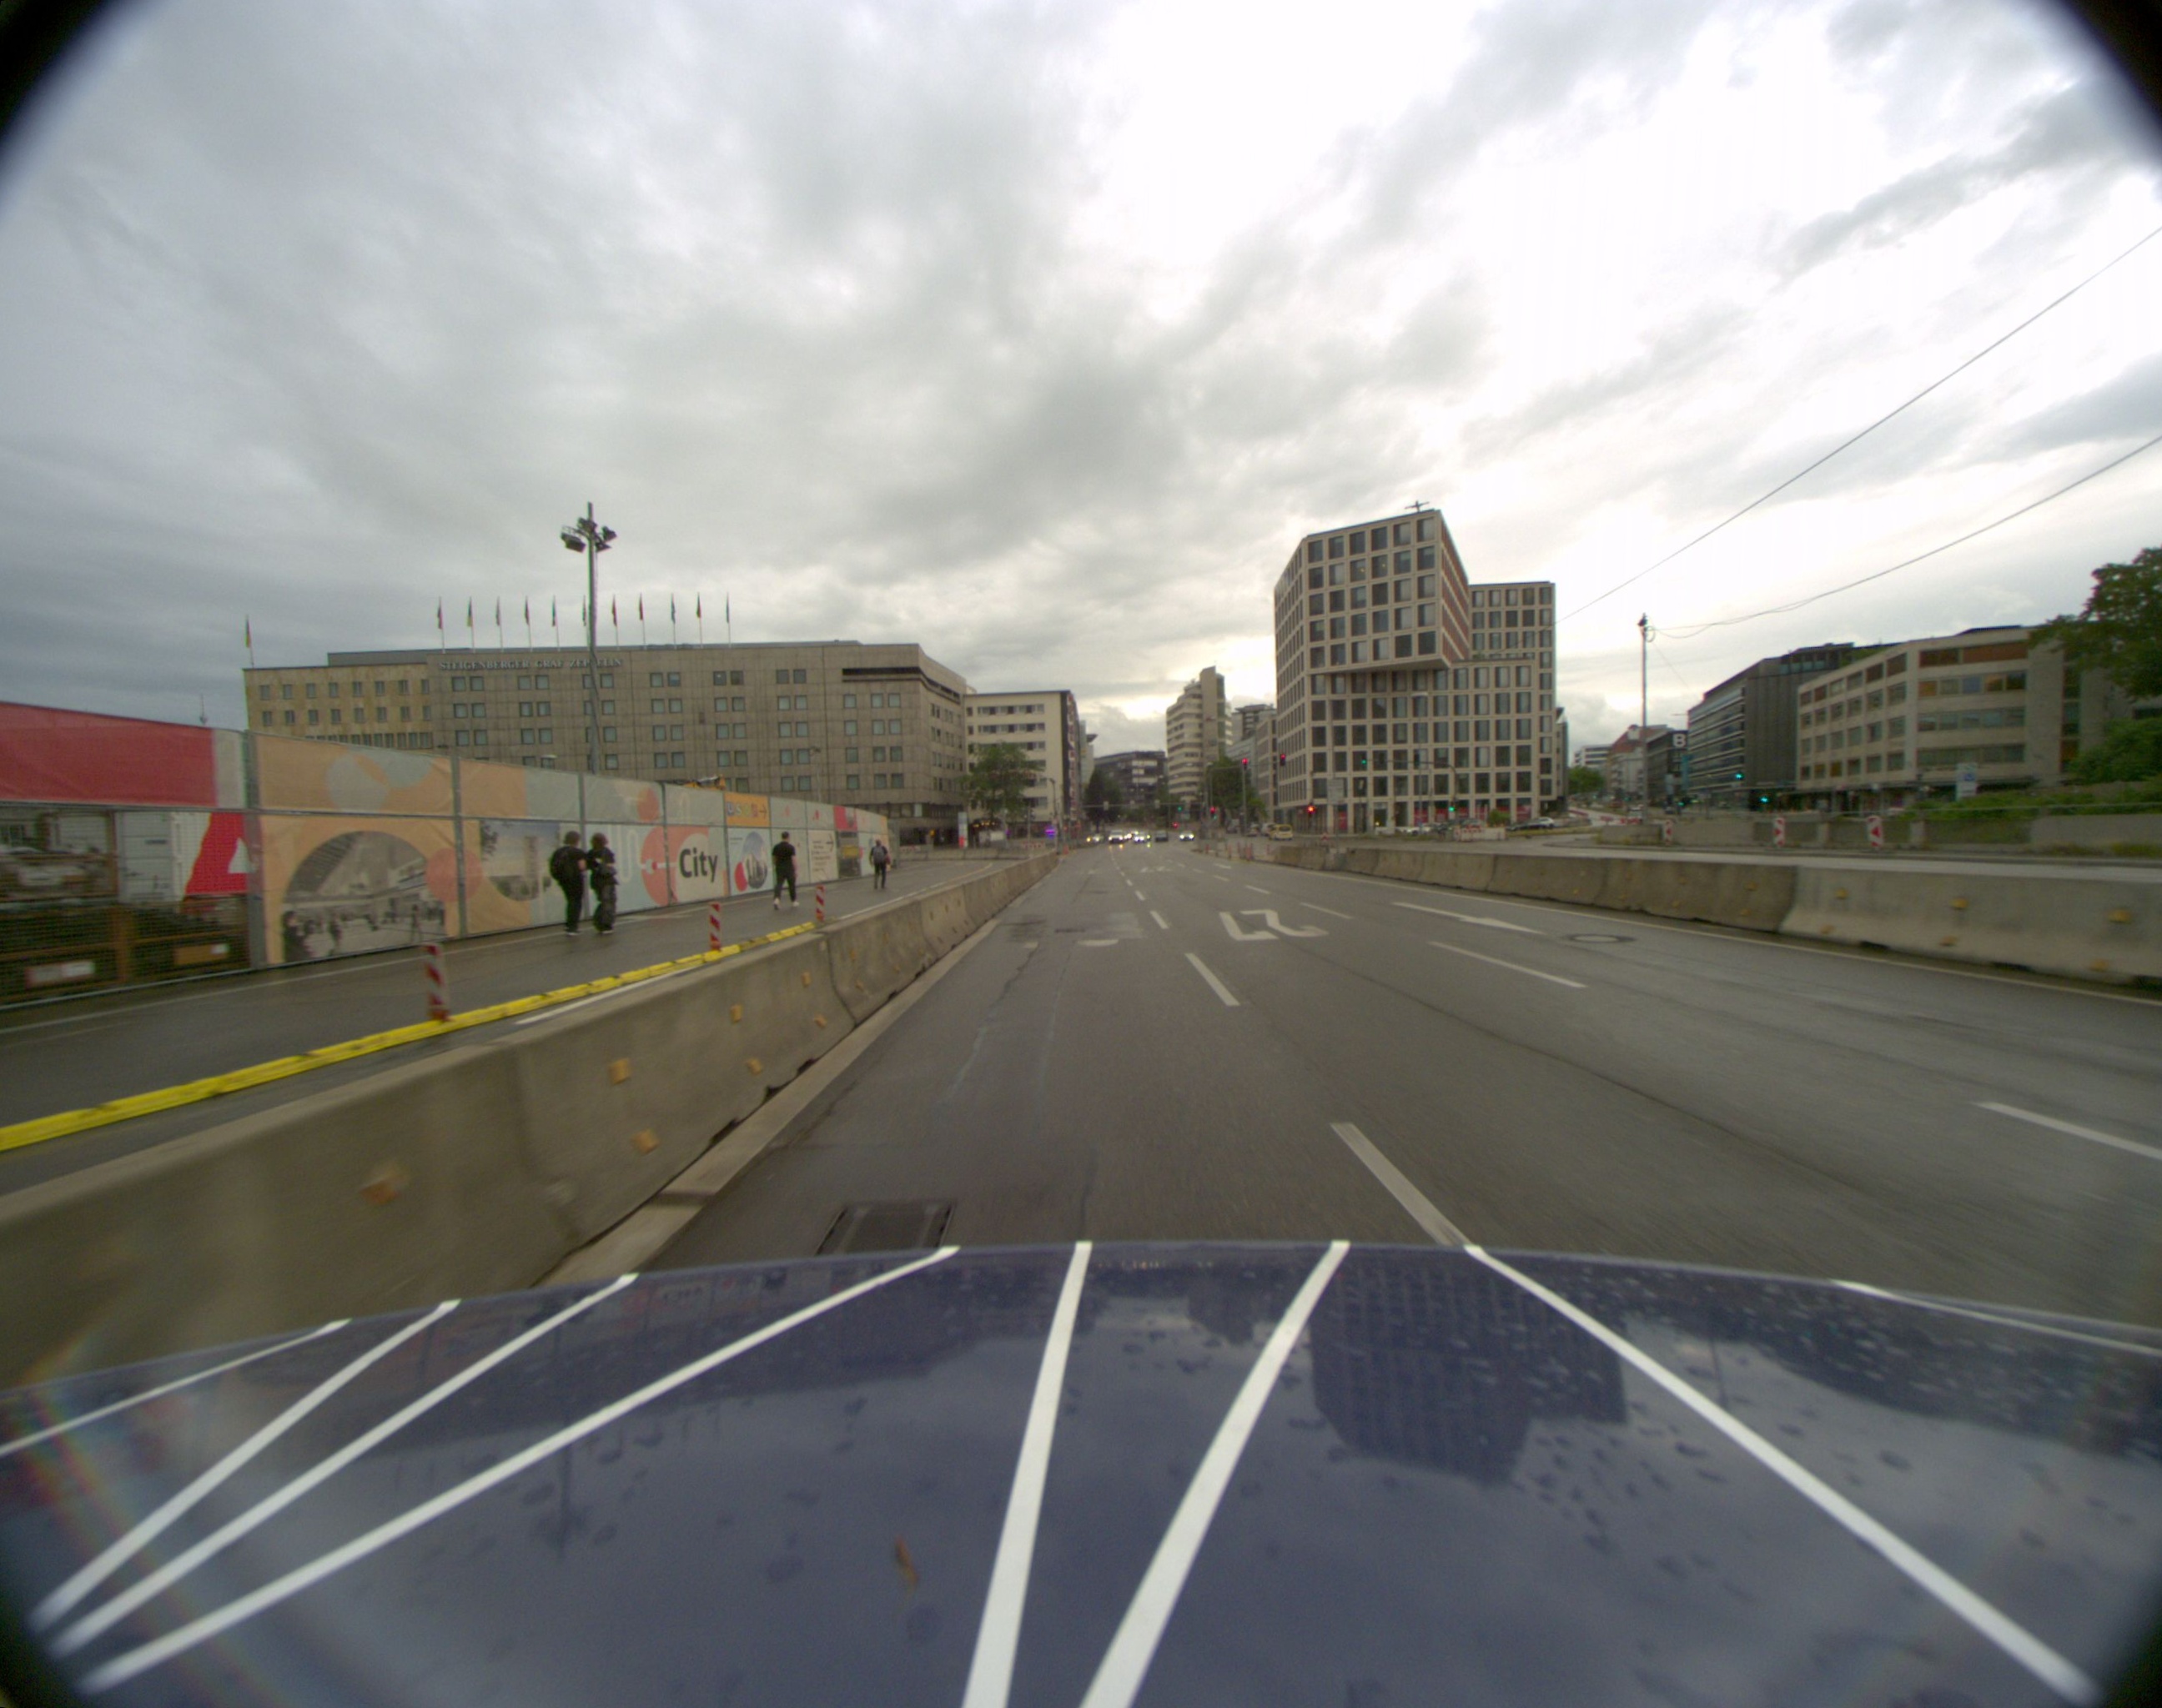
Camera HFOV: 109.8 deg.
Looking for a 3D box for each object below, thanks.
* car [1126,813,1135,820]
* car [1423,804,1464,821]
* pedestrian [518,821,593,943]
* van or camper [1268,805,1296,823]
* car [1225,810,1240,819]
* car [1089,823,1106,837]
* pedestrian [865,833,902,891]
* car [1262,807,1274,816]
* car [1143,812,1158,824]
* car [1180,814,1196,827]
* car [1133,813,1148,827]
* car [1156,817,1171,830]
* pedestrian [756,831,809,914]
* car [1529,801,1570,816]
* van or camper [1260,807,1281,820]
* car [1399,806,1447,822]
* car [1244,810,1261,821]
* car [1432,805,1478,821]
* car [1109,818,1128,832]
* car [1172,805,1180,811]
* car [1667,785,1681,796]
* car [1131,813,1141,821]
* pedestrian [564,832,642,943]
[{"bbox_3d":[10.611,-8.062,162.947,1.671,1.476,3.485,-2,3,5],"label":"car"},{"bbox_3d":[42.740,-4.912,89.581,3.995,1.806,1.805,-3,4,5],"label":"car"},{"bbox_3d":[-8.924,0.457,12.919,0.681,2.002,0.686,-2,2,1],"label":"pedestrian"},{"bbox_3d":[25.129,-5.052,95.109,2.244,2.043,5.605,-3,3,4],"label":"van or camper"},{"bbox_3d":[27.555,-7.148,137.902,1.850,1.590,4.178,-3,3,0],"label":"car"},{"bbox_3d":[2.504,-3.573,112.327,1.921,2.003,4.001,-2,3,9],"label":"car"},{"bbox_3d":[-6.435,0.256,24.801,0.927,1.824,0.686,-2,3,2],"label":"pedestrian"},{"bbox_3d":[33.883,-7.614,137.452,1.864,1.514,4.001,-2,3,11],"label":"car"},{"bbox_3d":[10.329,-5.324,112.901,2.016,1.590,4.662,-2,3,6],"label":"car"},{"bbox_3d":[15.116,-4.709,106.969,2.015,1.590,4.664,-2,3,11],"label":"car"},{"bbox_3d":[8.420,-4.793,107.117,2.016,1.729,4.662,-2,3,6],"label":"car"},{"bbox_3d":[11.590,-4.328,107.333,2.016,1.590,4.662,-2,3,6],"label":"car"},{"bbox_3d":[-7.055,0.416,17.979,0.798,1.867,0.820,-2,3,2],"label":"pedestrian"},{"bbox_3d":[56.818,-5.531,92.230,4.132,1.707,1.855,-3,3,-13],"label":"car"},{"bbox_3d":[29.225,-6.221,117.500,1.886,1.884,5.209,-3,3,0],"label":"van or camper"},{"bbox_3d":[42.106,-4.889,93.600,4.809,1.744,2.228,-2,3,1],"label":"car"},{"bbox_3d":[26.644,-6.033,118.177,1.846,1.664,4.378,-3,3,3],"label":"car"},{"bbox_3d":[39.604,-4.350,80.497,3.999,1.478,1.834,-3,3,-7],"label":"car"},{"bbox_3d":[5.385,-4.185,108.716,2.084,1.894,5.085,-2,3,8],"label":"car"},{"bbox_3d":[26.264,-12.794,210.341,1.850,1.590,4.178,-3,3,0],"label":"car"},{"bbox_3d":[115.901,-12.358,148.432,1.994,2.003,4.006,0,4,36],"label":"car"},{"bbox_3d":[9.854,-6.576,134.879,1.671,1.476,3.485,-2,3,5],"label":"car"},{"bbox_3d":[-8.147,0.554,12.979,0.798,1.824,0.626,-2,3,2],"label":"pedestrian"}]
